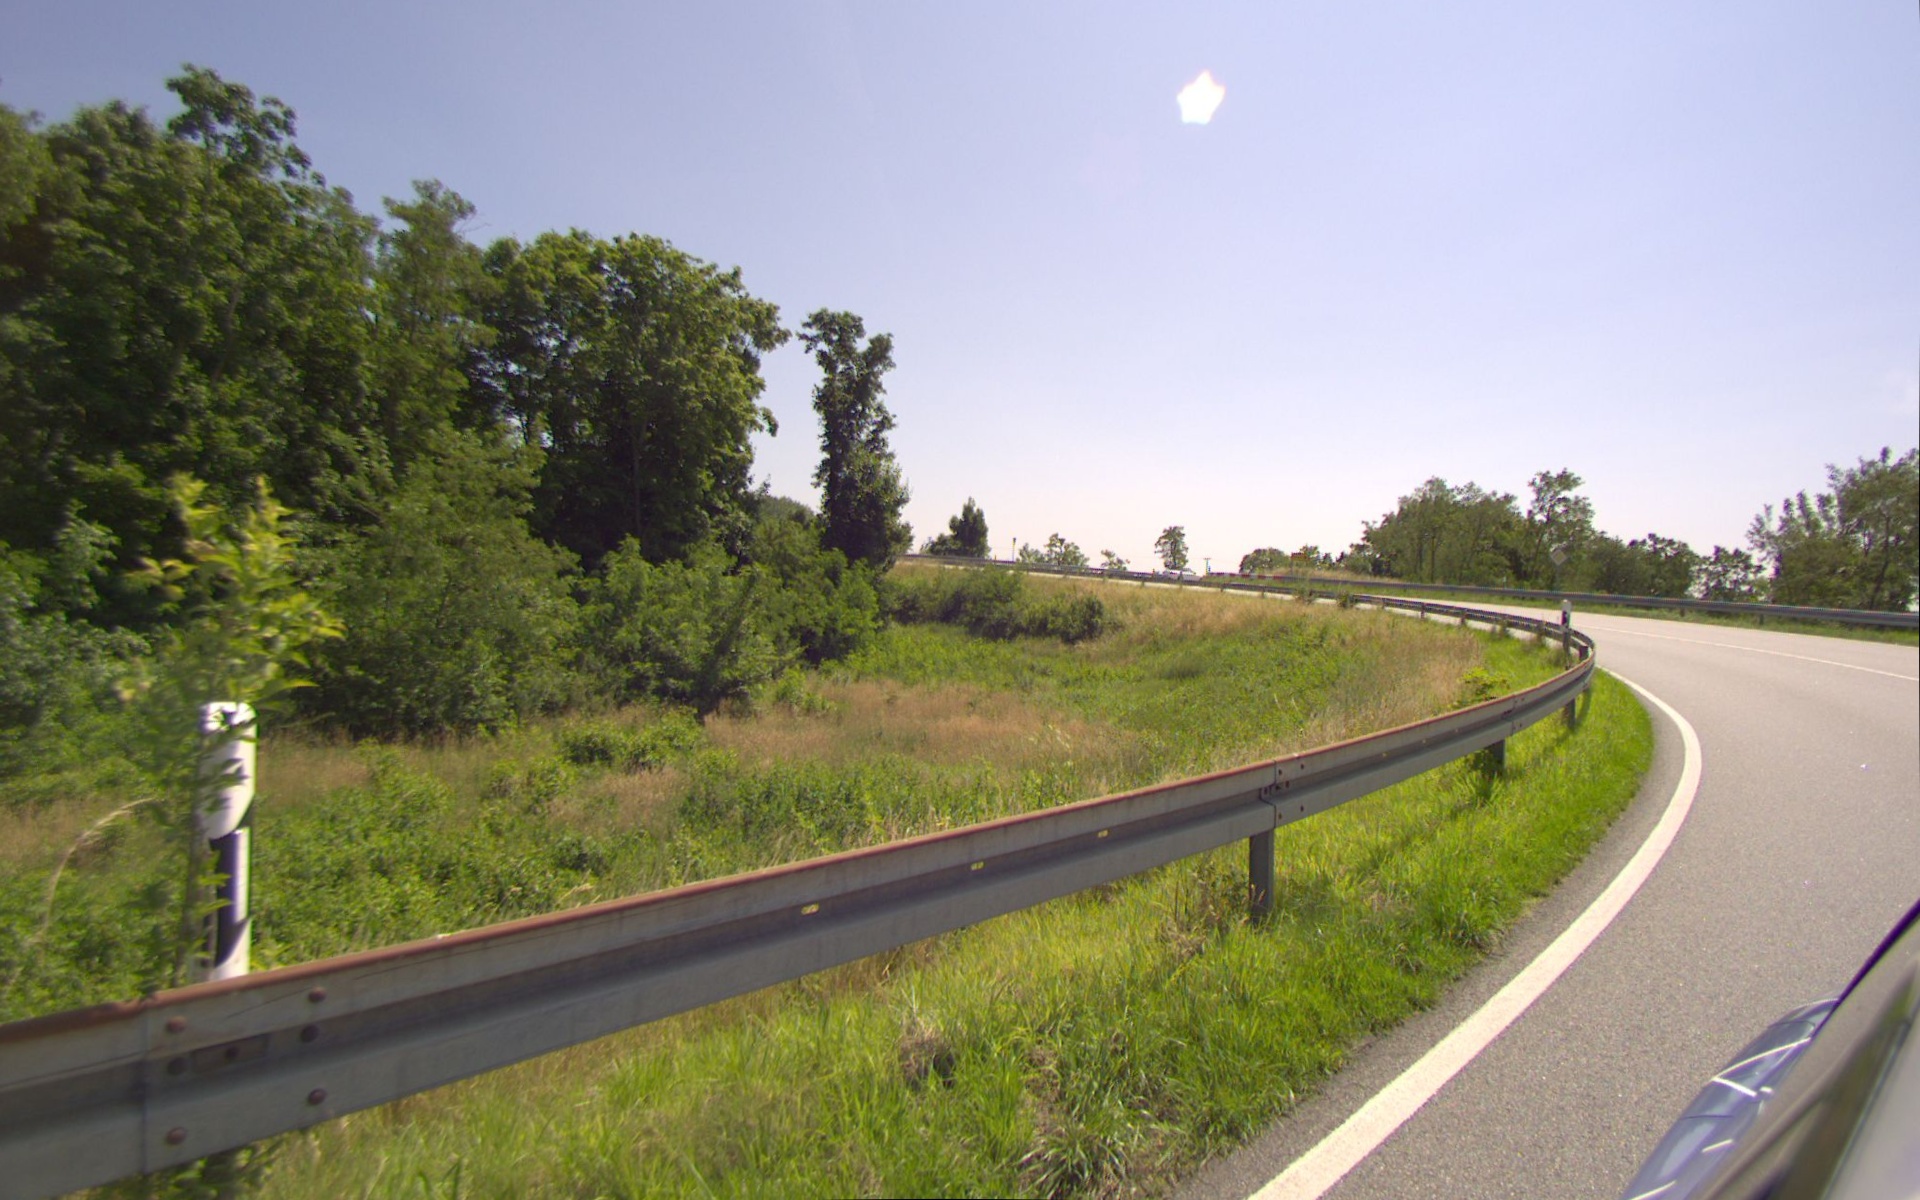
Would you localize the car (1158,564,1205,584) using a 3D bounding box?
[{"bbox_3d":[20.147,-2.363,91.944,4.029,1.434,1.815,4,-4,-33],"label":"car"}]

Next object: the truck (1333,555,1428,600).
[{"bbox_3d":[43.161,-2.239,103.820,9.739,3.717,2.826,5,-3,-23],"label":"truck"}]
